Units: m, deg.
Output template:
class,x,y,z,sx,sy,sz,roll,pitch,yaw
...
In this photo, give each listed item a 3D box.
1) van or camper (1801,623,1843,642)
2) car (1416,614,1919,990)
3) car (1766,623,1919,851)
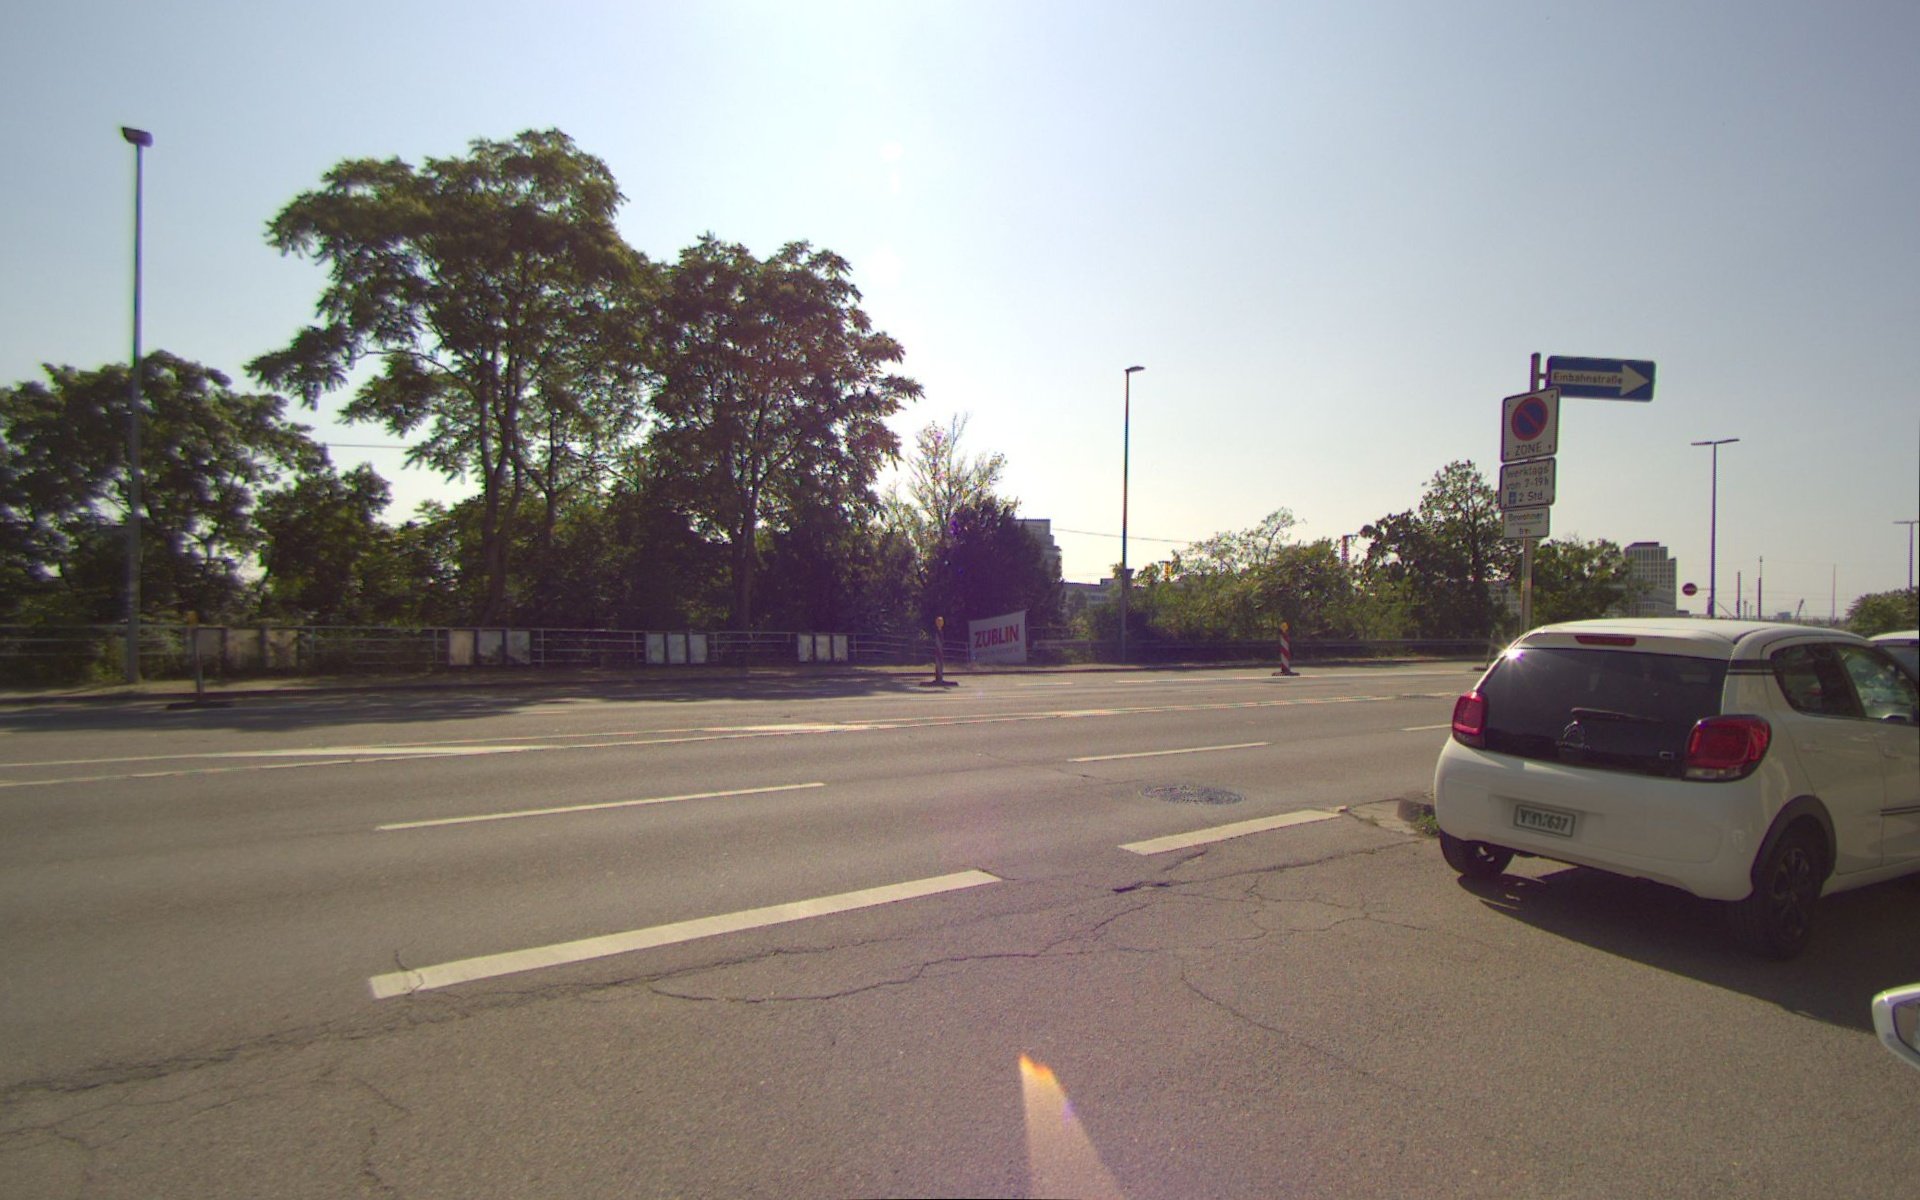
class,x,y,z,sx,sy,sz,roll,pitch,yaw
van or camper,65.378,2.470,76.162,4.586,1.368,1.456,1,-1,-37
car,4.404,0.864,5.714,3.420,1.525,1.612,1,0,-30
car,8.358,0.989,7.942,4.083,1.525,1.713,1,1,-30
